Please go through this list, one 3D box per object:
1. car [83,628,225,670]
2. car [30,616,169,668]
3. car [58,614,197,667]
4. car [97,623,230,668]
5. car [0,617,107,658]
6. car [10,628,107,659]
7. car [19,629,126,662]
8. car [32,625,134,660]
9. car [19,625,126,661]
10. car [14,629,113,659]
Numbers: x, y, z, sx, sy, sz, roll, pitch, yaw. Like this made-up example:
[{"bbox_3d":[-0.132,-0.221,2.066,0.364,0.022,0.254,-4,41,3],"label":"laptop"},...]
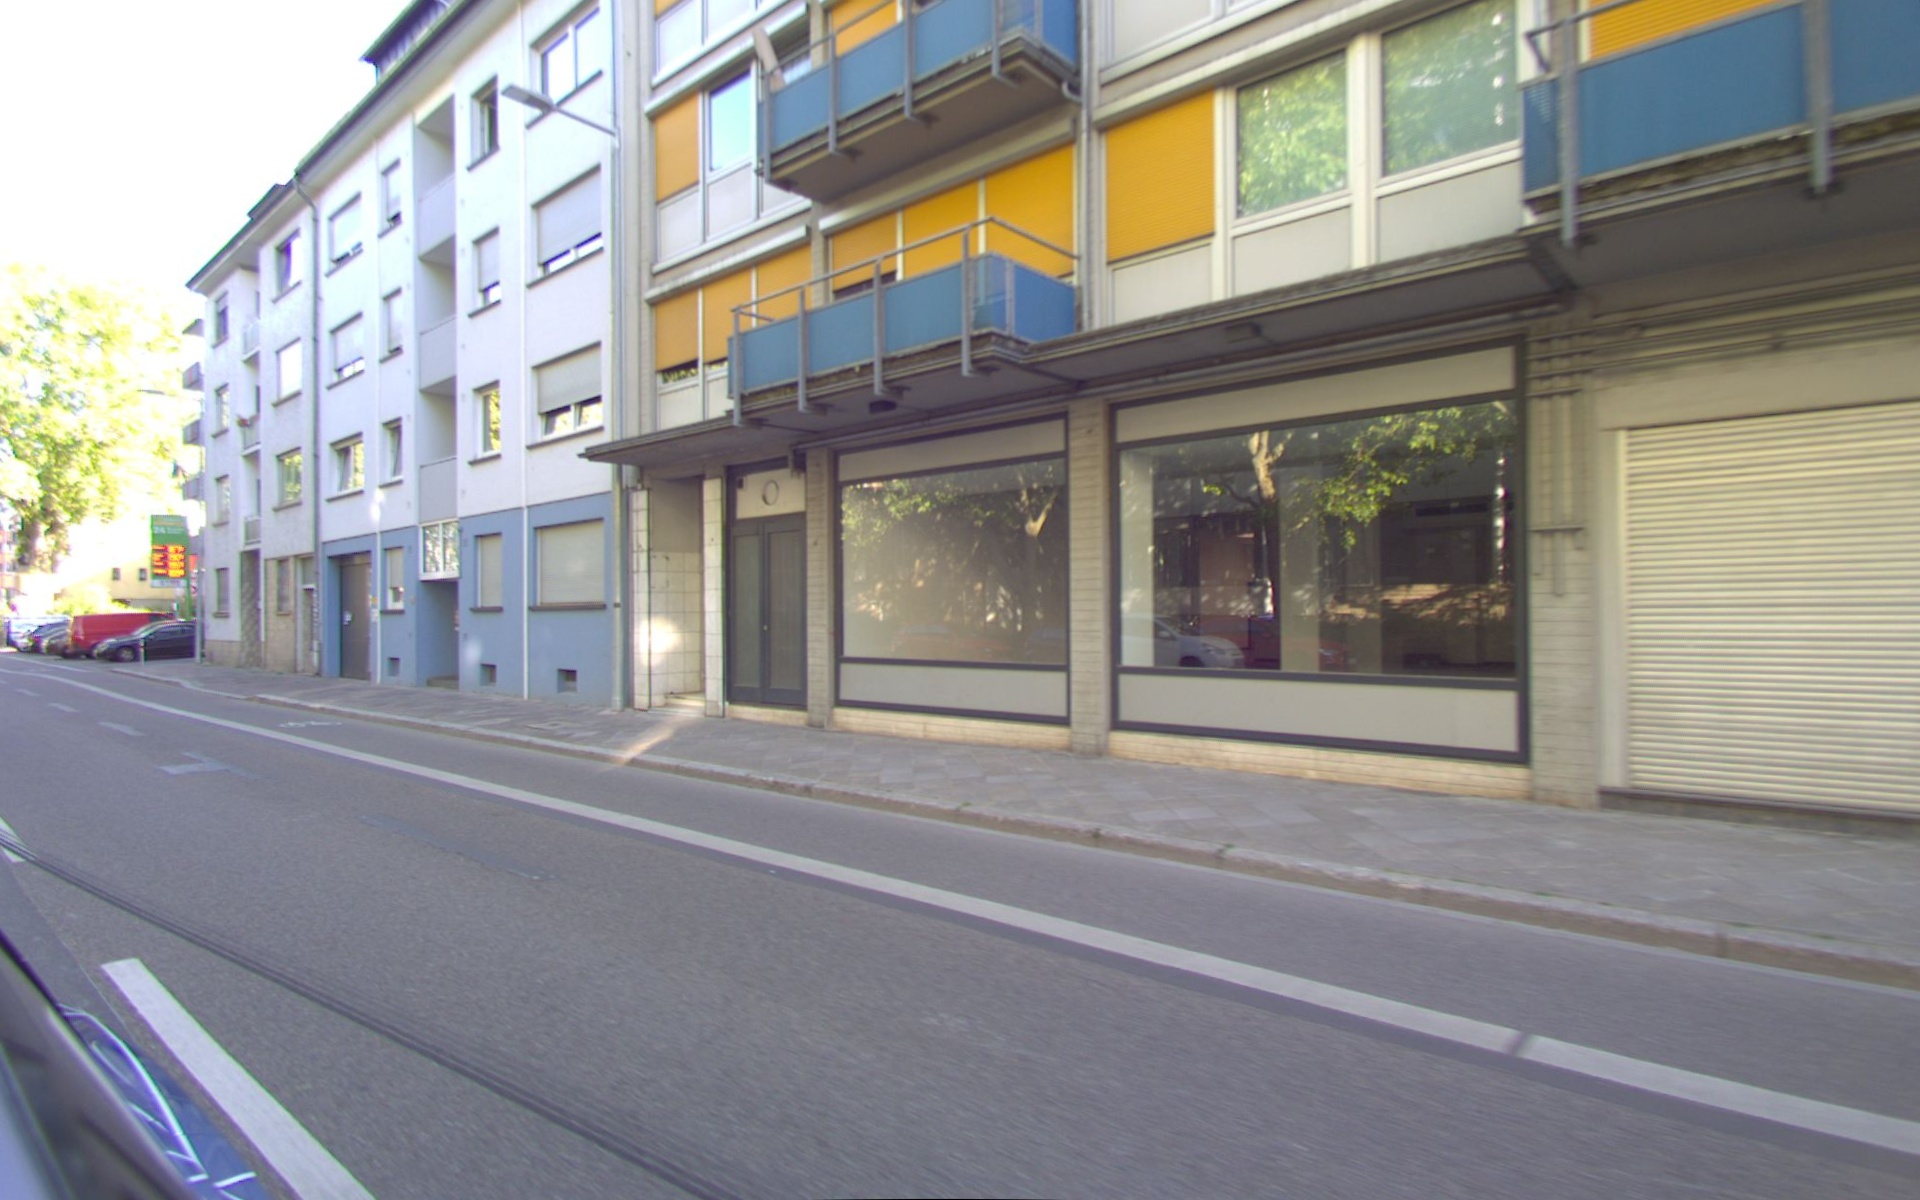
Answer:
[{"bbox_3d":[-32.462,1.925,40.825,2.045,1.390,4.184,-1,1,42],"label":"car"},{"bbox_3d":[-38.778,1.860,45.684,2.056,1.966,4.475,-2,1,42],"label":"car"},{"bbox_3d":[-36.377,1.745,44.281,2.145,1.966,4.375,-2,1,42],"label":"car"},{"bbox_3d":[-33.657,1.874,42.824,1.886,1.575,4.129,-2,1,42],"label":"car"},{"bbox_3d":[-54.982,2.237,61.297,2.139,2.233,4.794,-2,0,41],"label":"car"},{"bbox_3d":[-51.711,2.482,58.099,1.852,1.571,3.945,-2,-1,41],"label":"car"},{"bbox_3d":[-45.893,2.340,52.381,1.915,1.466,3.945,-2,0,41],"label":"car"},{"bbox_3d":[-44.227,2.117,51.075,1.830,1.524,3.647,-2,1,41],"label":"car"},{"bbox_3d":[-48.202,2.318,55.040,2.027,1.696,4.150,-2,0,41],"label":"car"},{"bbox_3d":[-50.150,2.457,56.653,1.852,1.444,3.945,-2,0,41],"label":"car"}]
